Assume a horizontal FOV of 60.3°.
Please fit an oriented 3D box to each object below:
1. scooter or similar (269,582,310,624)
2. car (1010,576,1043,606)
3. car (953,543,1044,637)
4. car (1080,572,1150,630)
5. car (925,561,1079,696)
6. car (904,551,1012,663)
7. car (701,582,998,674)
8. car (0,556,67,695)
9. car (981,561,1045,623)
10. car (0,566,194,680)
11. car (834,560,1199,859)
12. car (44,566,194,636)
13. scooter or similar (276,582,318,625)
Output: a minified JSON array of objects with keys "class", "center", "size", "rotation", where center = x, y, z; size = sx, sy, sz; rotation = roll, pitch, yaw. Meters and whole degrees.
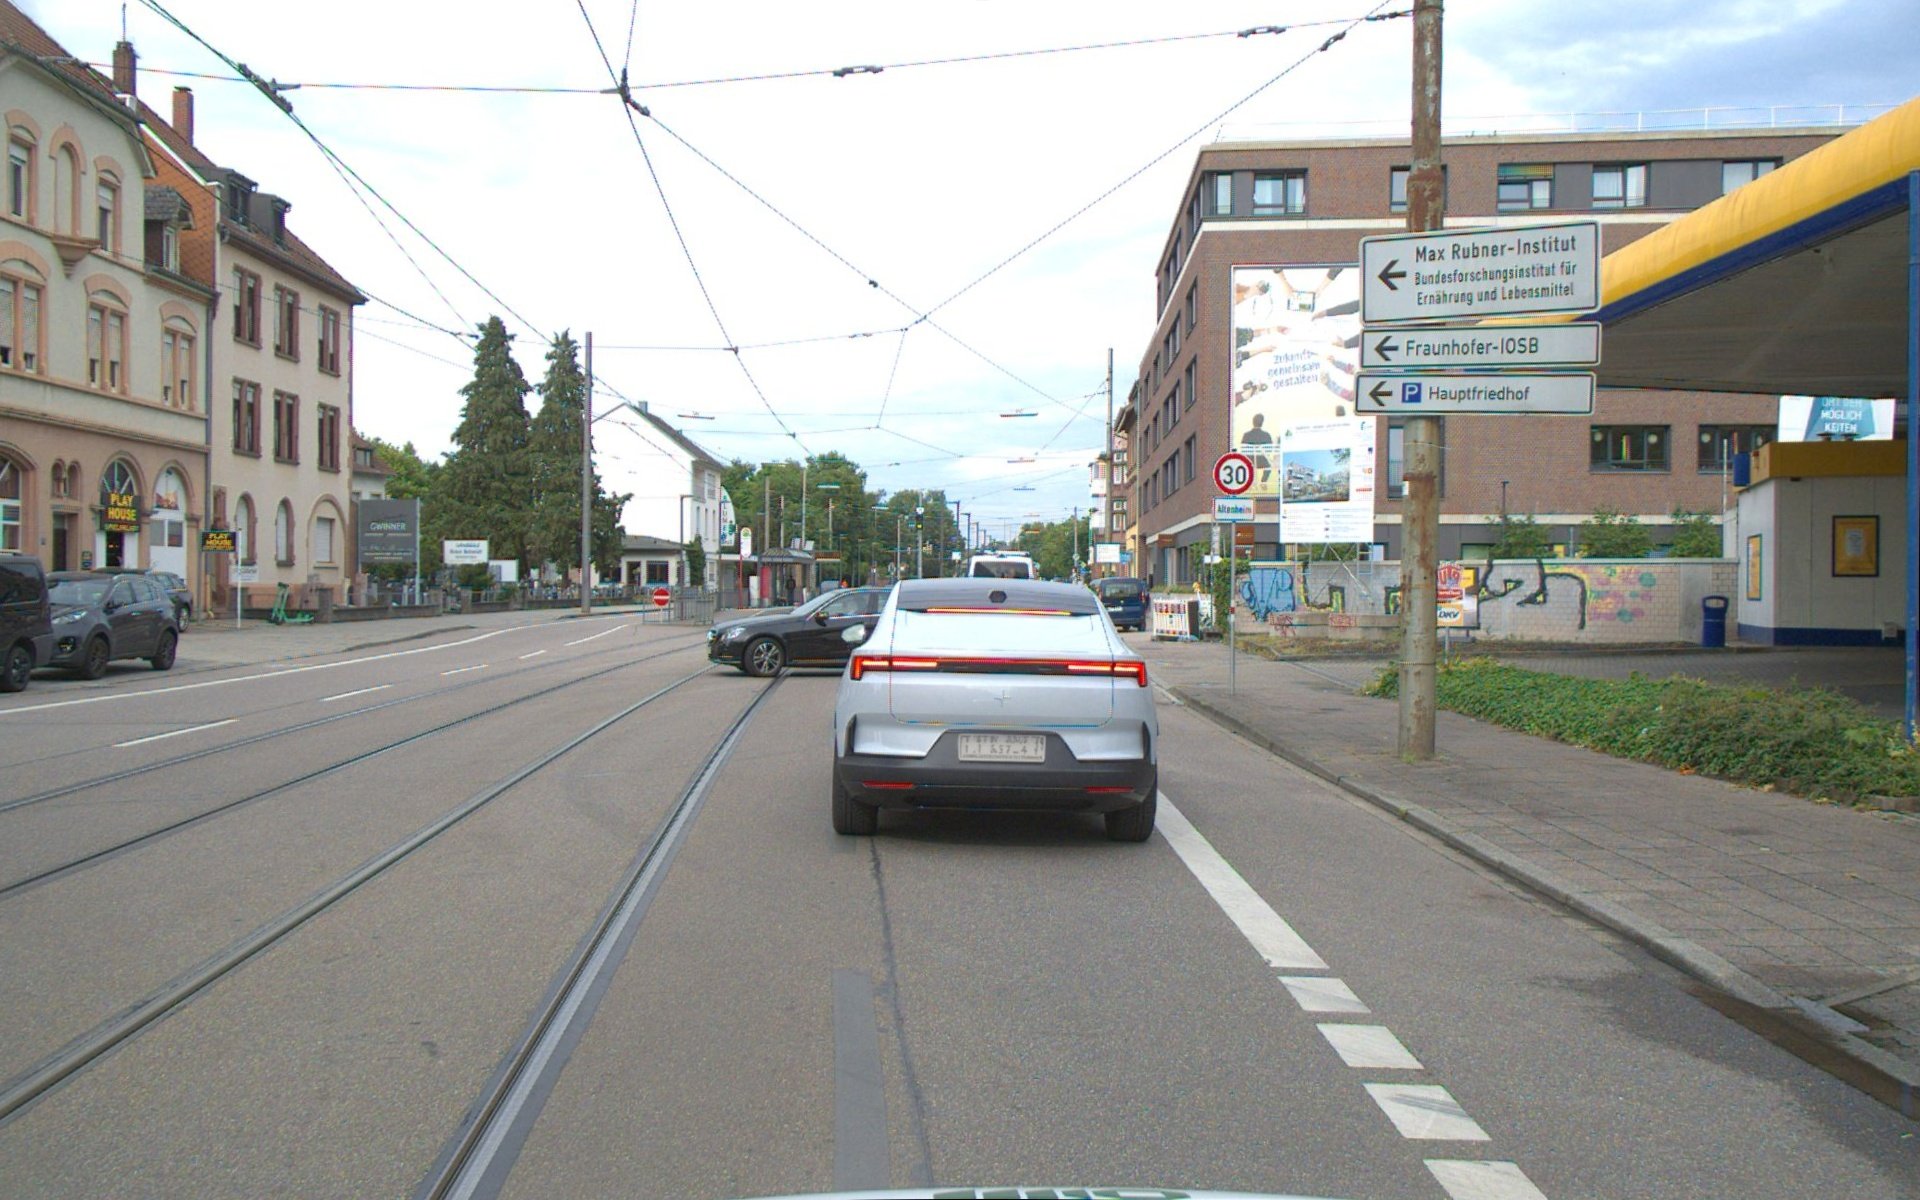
[{"class":"scooter or similar","center":[-19.595,0.084,48.345],"size":[1.041,1.209,0.314],"rotation":[2,-1,-37]},{"class":"car","center":[4.864,-0.650,121.361],"size":[1.955,2.049,3.996],"rotation":[2,0,-5]},{"class":"car","center":[1.022,-0.274,46.845],"size":[2.172,2.465,4.949],"rotation":[2,0,-3]},{"class":"car","center":[5.256,0.024,56.599],"size":[1.837,1.855,4.095],"rotation":[2,0,-2]},{"class":"car","center":[0.530,0.393,24.451],"size":[1.929,1.787,3.835],"rotation":[2,0,-3]},{"class":"car","center":[-0.100,0.140,33.082],"size":[1.954,2.049,3.998],"rotation":[2,0,-3]},{"class":"car","center":[-1.889,0.442,27.494],"size":[4.780,1.452,1.949],"rotation":[0,1,-10]},{"class":"car","center":[-14.156,0.324,21.977],"size":[1.952,1.920,4.996],"rotation":[2,0,-2]},{"class":"car","center":[1.964,-0.294,62.391],"size":[2.096,2.183,4.742],"rotation":[2,0,-2]},{"class":"car","center":[-14.719,0.355,27.863],"size":[1.808,1.748,4.190],"rotation":[2,0,-3]},{"class":"car","center":[0.158,0.580,11.052],"size":[1.943,1.577,4.179],"rotation":[2,0,-5]},{"class":"car","center":[-19.673,0.022,38.876],"size":[1.718,1.527,3.744],"rotation":[2,0,-3]},{"class":"scooter or similar","center":[-19.197,0.093,47.906],"size":[1.041,1.209,0.314],"rotation":[2,-1,-37]}]
